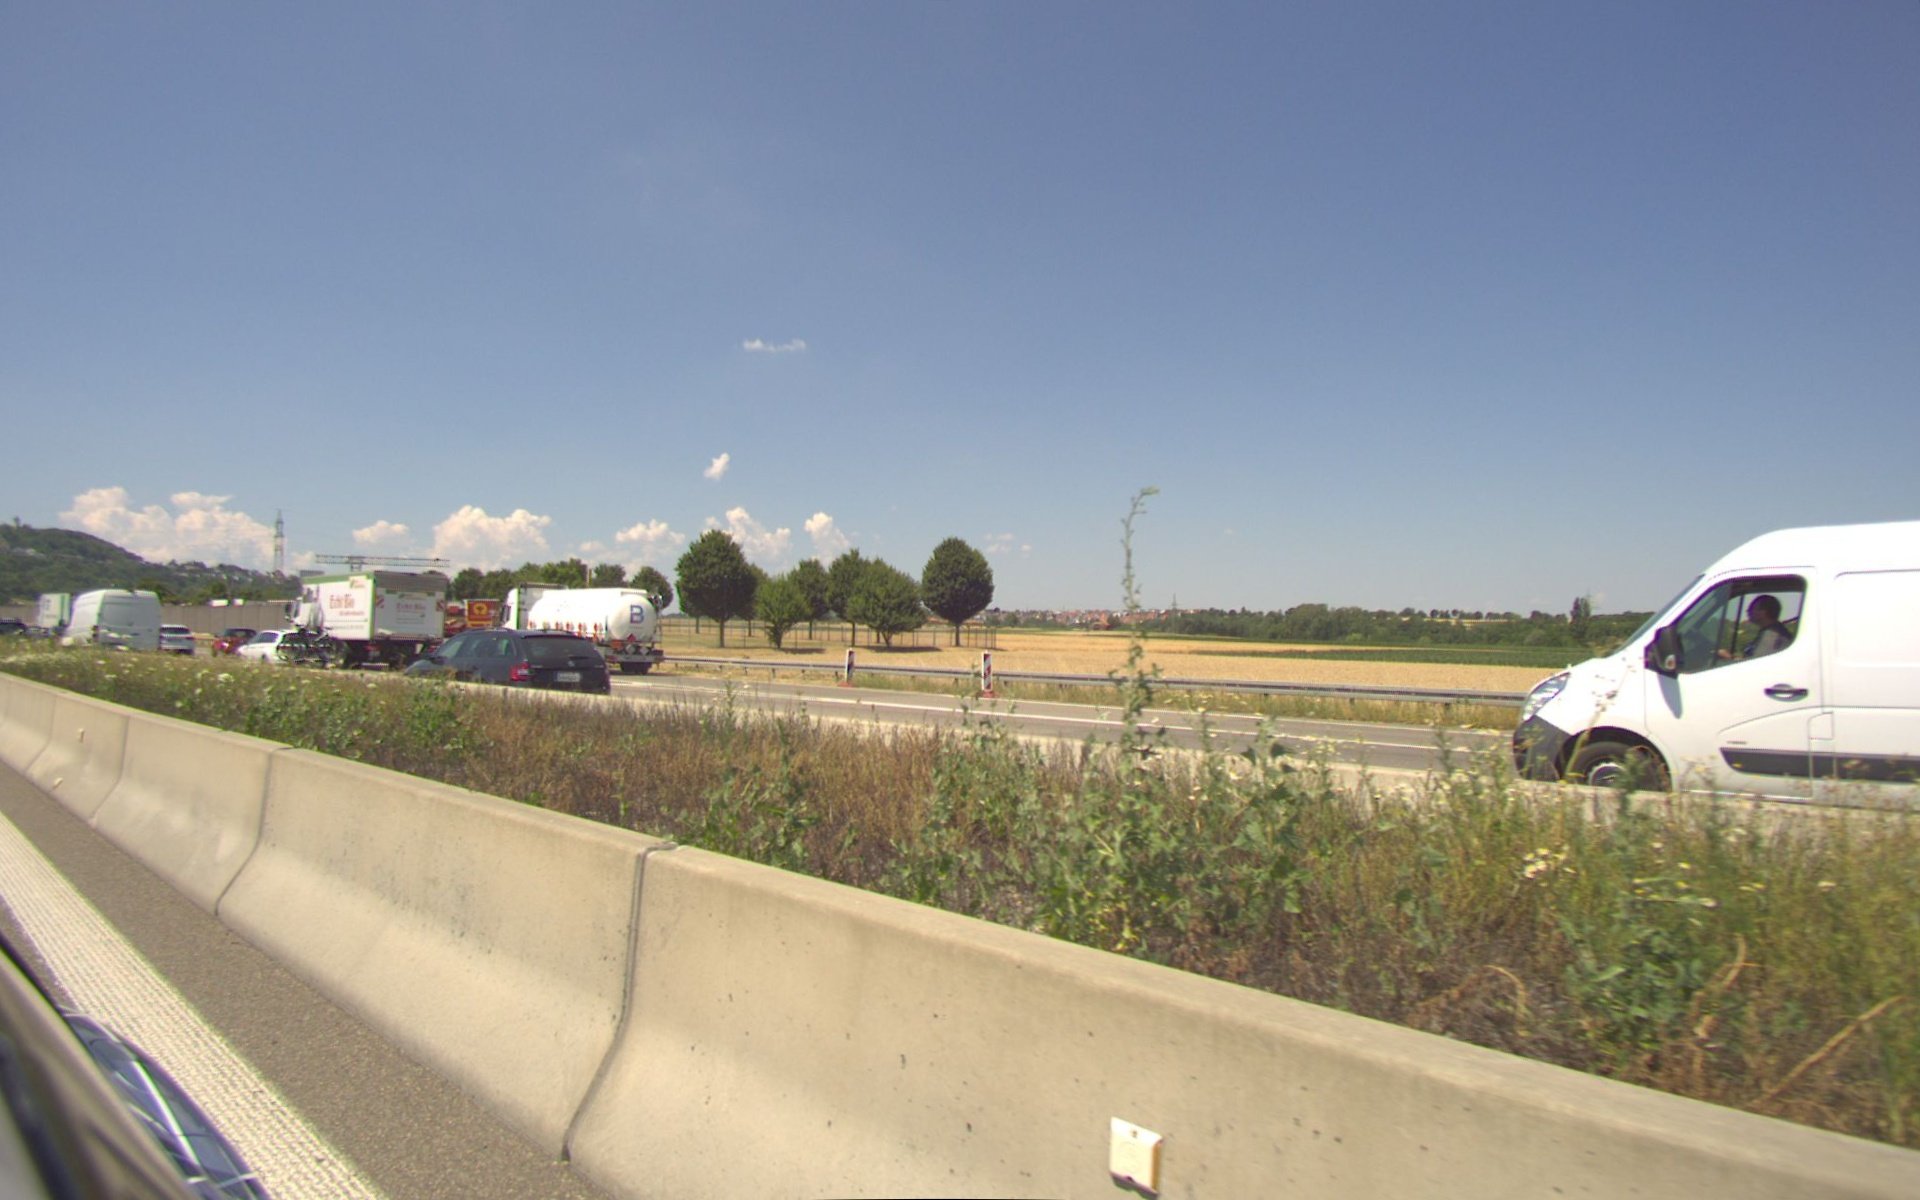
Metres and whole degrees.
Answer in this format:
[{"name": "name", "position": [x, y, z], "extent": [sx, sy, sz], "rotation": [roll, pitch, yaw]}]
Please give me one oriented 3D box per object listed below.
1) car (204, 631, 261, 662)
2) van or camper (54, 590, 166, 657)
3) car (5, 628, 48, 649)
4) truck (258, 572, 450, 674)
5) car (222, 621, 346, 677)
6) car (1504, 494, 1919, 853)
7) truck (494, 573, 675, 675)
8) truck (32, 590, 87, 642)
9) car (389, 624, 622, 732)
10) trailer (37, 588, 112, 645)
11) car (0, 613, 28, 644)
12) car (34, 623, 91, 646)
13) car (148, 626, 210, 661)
[{"name": "car", "position": [-37.748, 2.394, 52.475], "extent": [3.935, 1.527, 1.546], "rotation": [-1, -2, 41]}, {"name": "van or camper", "position": [-30.988, 0.839, 36.782], "extent": [7.204, 2.238, 2.014], "rotation": [-2, -1, 41]}, {"name": "car", "position": [-70.863, 2.939, 76.811], "extent": [4.919, 1.494, 1.827], "rotation": [-1, -5, 41]}, {"name": "truck", "position": [-25.246, 0.996, 41.643], "extent": [13.284, 3.637, 2.765], "rotation": [-1, -4, 42]}, {"name": "car", "position": [-22.507, 1.597, 33.616], "extent": [5.517, 1.723, 1.867], "rotation": [-1, -4, 40]}, {"name": "car", "position": [7.611, 0.535, 7.693], "extent": [5.808, 2.520, 2.025], "rotation": [-2, -3, 41]}, {"name": "truck", "position": [-16.753, 1.142, 44.187], "extent": [2.863, 3.806, 13.308], "rotation": [5, -5, -40]}, {"name": "truck", "position": [-79.394, 1.474, 89.257], "extent": [4.900, 4.408, 2.840], "rotation": [-1, -4, 41]}, {"name": "car", "position": [-7.281, 1.139, 15.988], "extent": [4.530, 1.480, 1.581], "rotation": [-2, -3, 41]}, {"name": "trailer", "position": [-74.322, 1.434, 84.786], "extent": [12.987, 4.408, 2.862], "rotation": [-1, -4, 41]}, {"name": "car", "position": [-52.372, 1.546, 55.196], "extent": [4.539, 1.602, 1.763], "rotation": [-1, -2, 41]}, {"name": "car", "position": [-55.876, 2.147, 62.971], "extent": [5.082, 1.397, 1.993], "rotation": [-2, -3, 41]}, {"name": "car", "position": [-37.454, 2.064, 48.495], "extent": [4.042, 1.635, 1.543], "rotation": [-2, -3, 40]}]
